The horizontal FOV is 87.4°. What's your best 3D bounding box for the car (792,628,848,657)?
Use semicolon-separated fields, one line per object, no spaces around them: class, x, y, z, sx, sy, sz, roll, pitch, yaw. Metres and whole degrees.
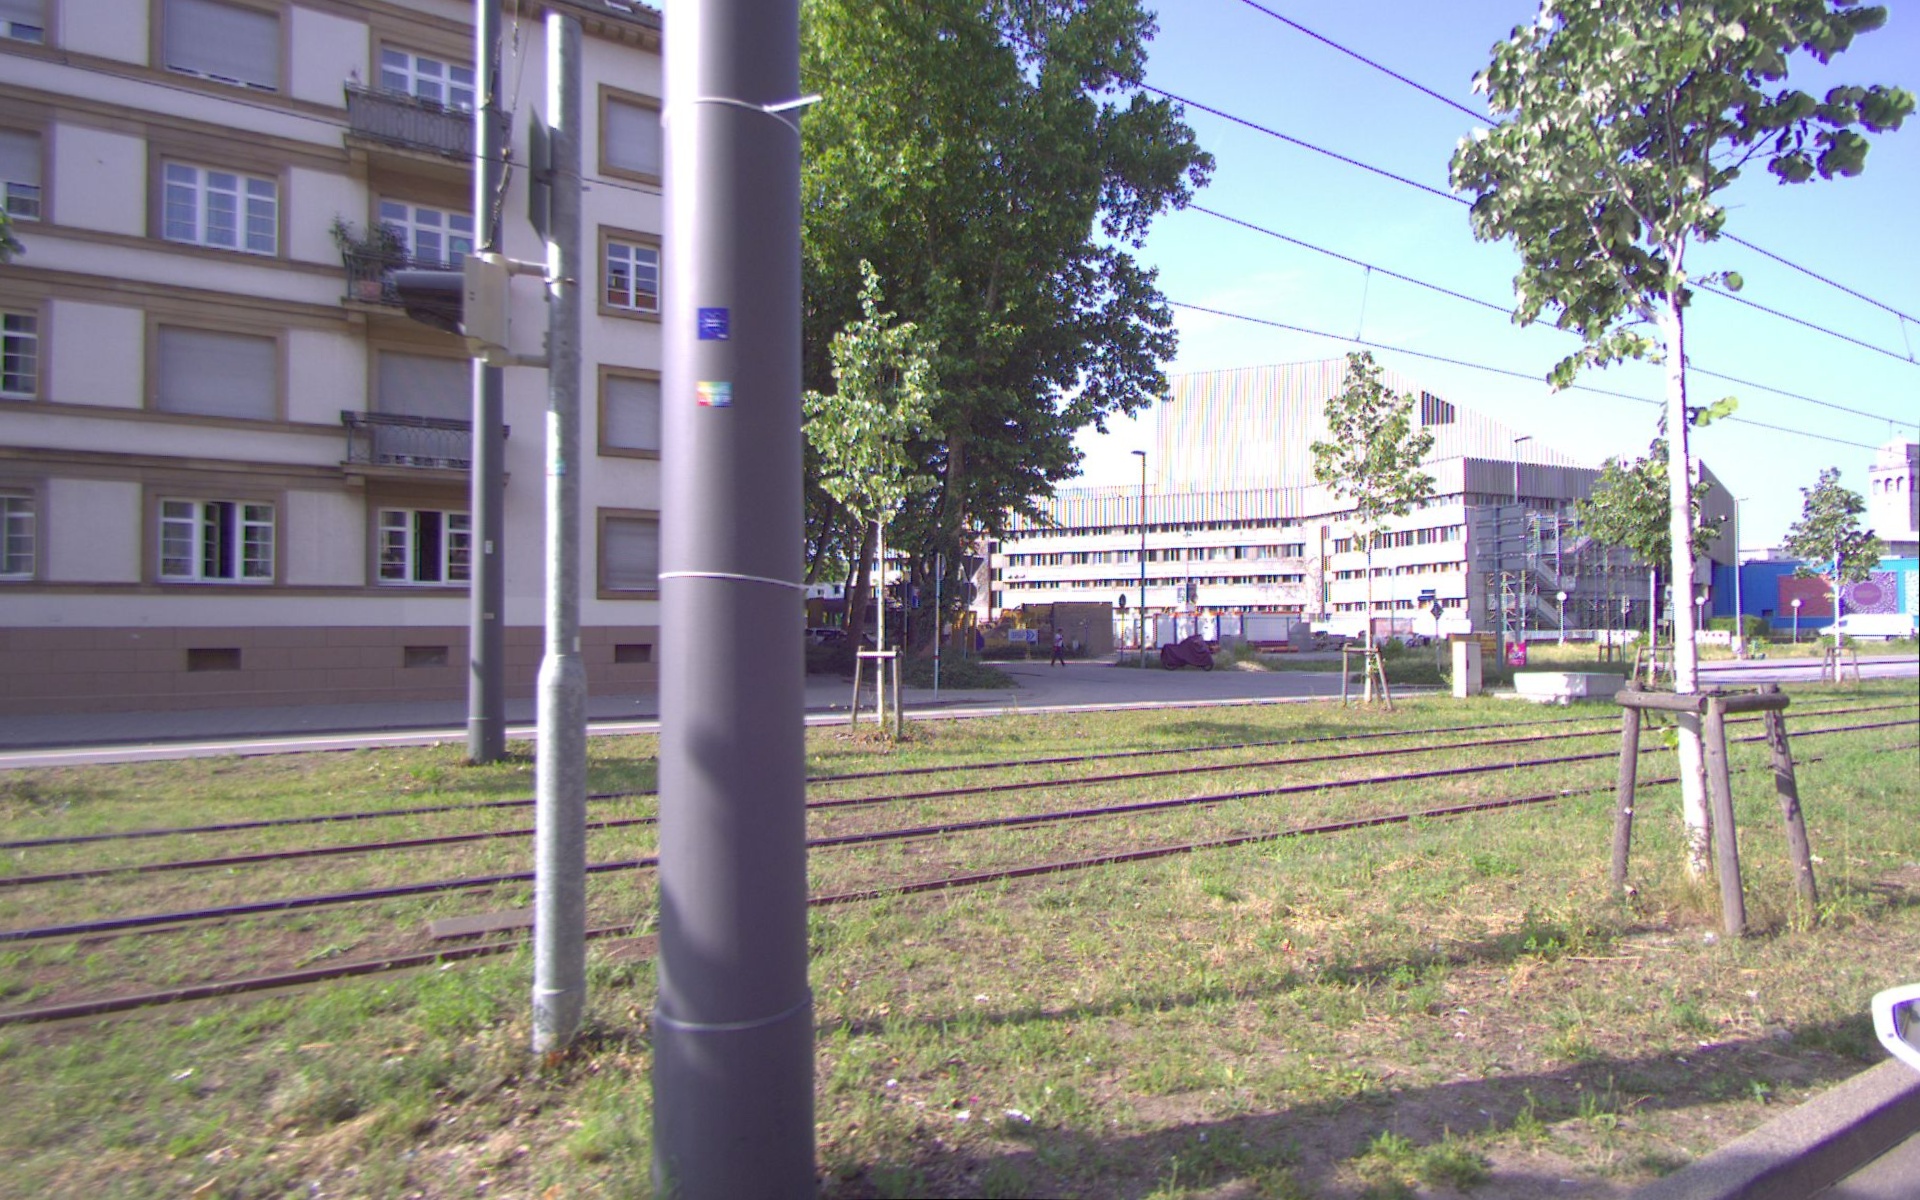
car;-8.238;2.451;58.901;1.976;1.628;3.970;0;-2;-29

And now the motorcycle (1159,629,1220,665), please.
motorcycle;9.193;1.880;40.298;2.253;1.387;0.818;-1;-1;24

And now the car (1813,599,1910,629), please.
car;85.614;1.262;95.558;6.795;2.674;2.502;1;1;41

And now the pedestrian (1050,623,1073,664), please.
pedestrian;4.231;1.804;41.895;0.725;1.699;0.675;-1;-1;35
